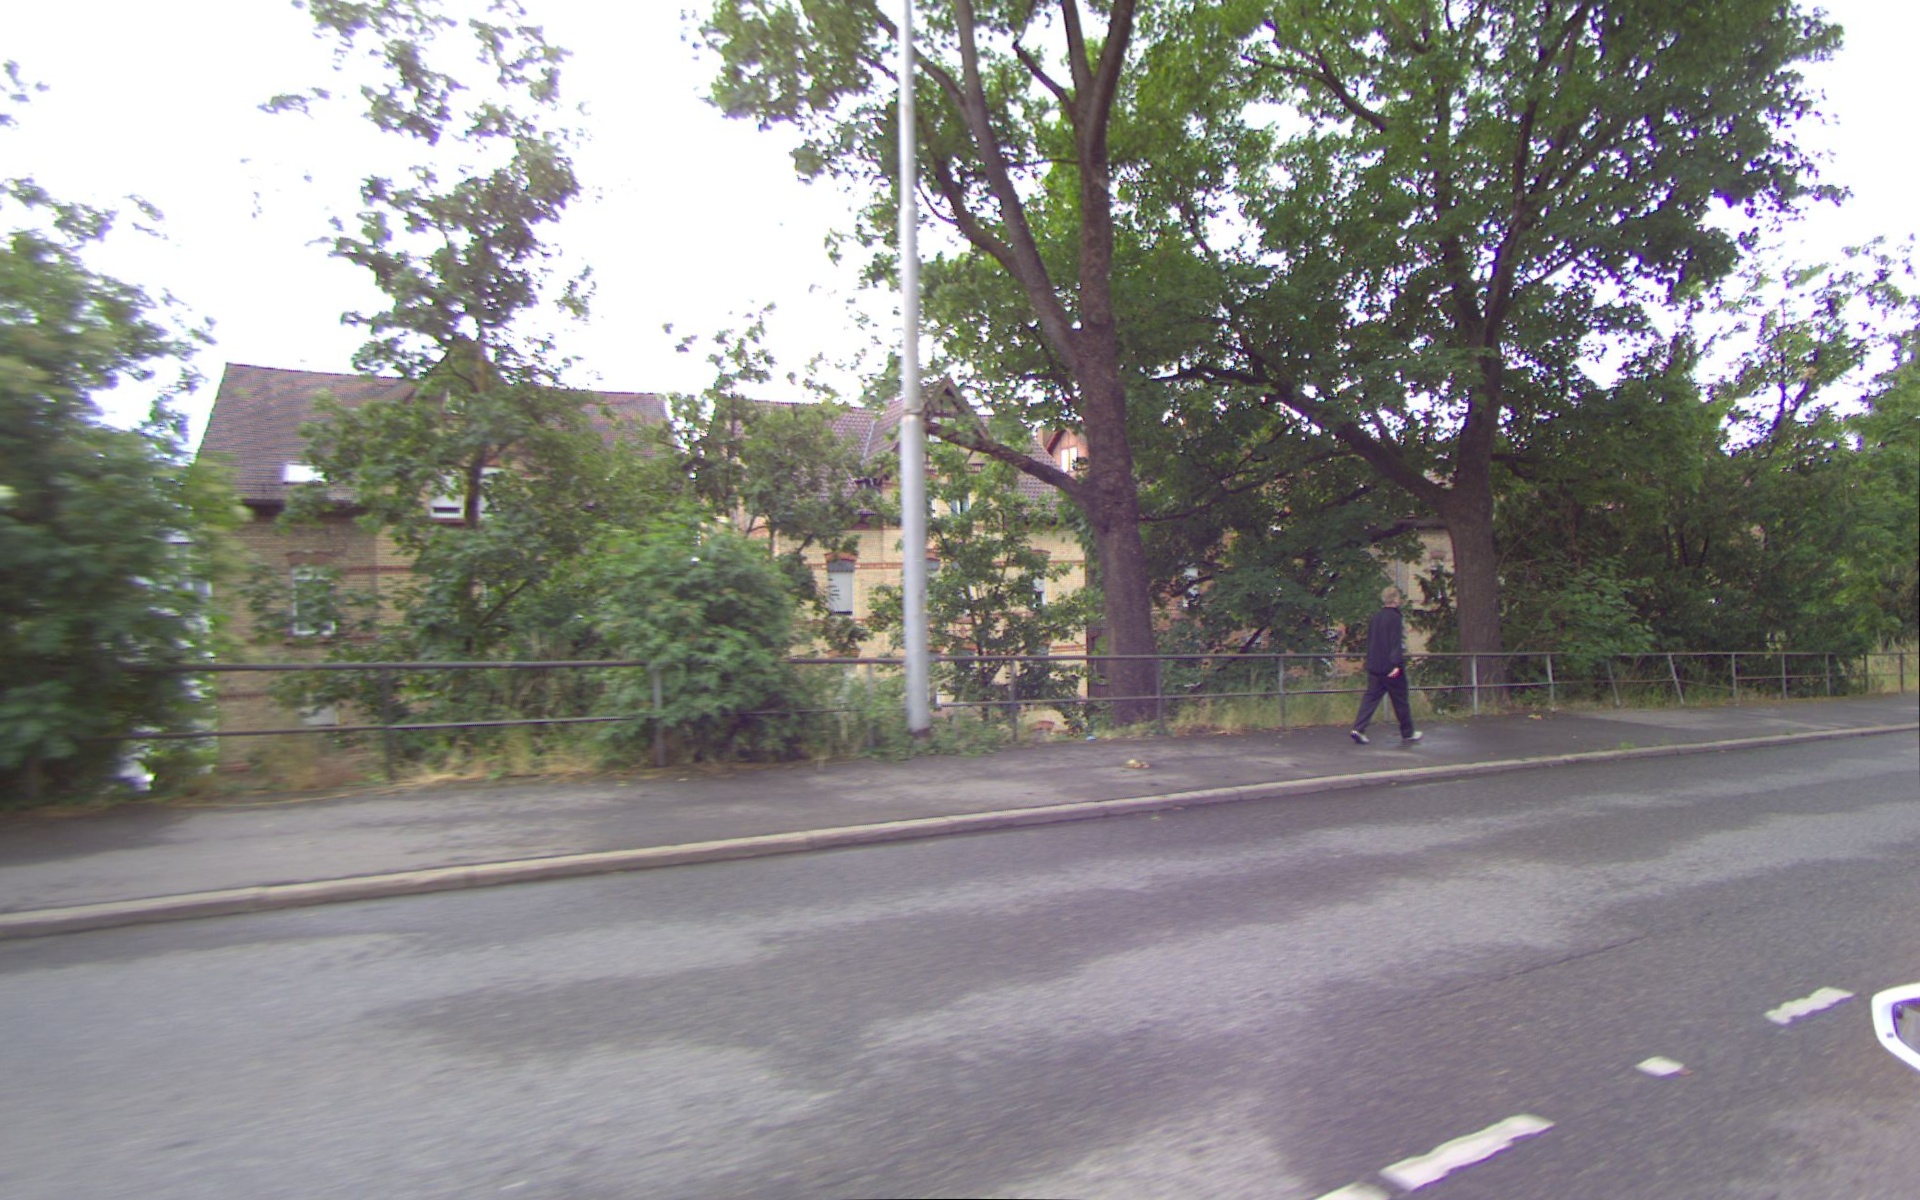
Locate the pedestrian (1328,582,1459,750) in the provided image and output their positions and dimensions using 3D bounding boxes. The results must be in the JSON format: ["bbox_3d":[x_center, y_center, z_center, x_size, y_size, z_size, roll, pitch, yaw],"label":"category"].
[{"bbox_3d":[4.987,0.723,11.561,1.196,1.798,0.784,1,2,-33],"label":"pedestrian"}]
